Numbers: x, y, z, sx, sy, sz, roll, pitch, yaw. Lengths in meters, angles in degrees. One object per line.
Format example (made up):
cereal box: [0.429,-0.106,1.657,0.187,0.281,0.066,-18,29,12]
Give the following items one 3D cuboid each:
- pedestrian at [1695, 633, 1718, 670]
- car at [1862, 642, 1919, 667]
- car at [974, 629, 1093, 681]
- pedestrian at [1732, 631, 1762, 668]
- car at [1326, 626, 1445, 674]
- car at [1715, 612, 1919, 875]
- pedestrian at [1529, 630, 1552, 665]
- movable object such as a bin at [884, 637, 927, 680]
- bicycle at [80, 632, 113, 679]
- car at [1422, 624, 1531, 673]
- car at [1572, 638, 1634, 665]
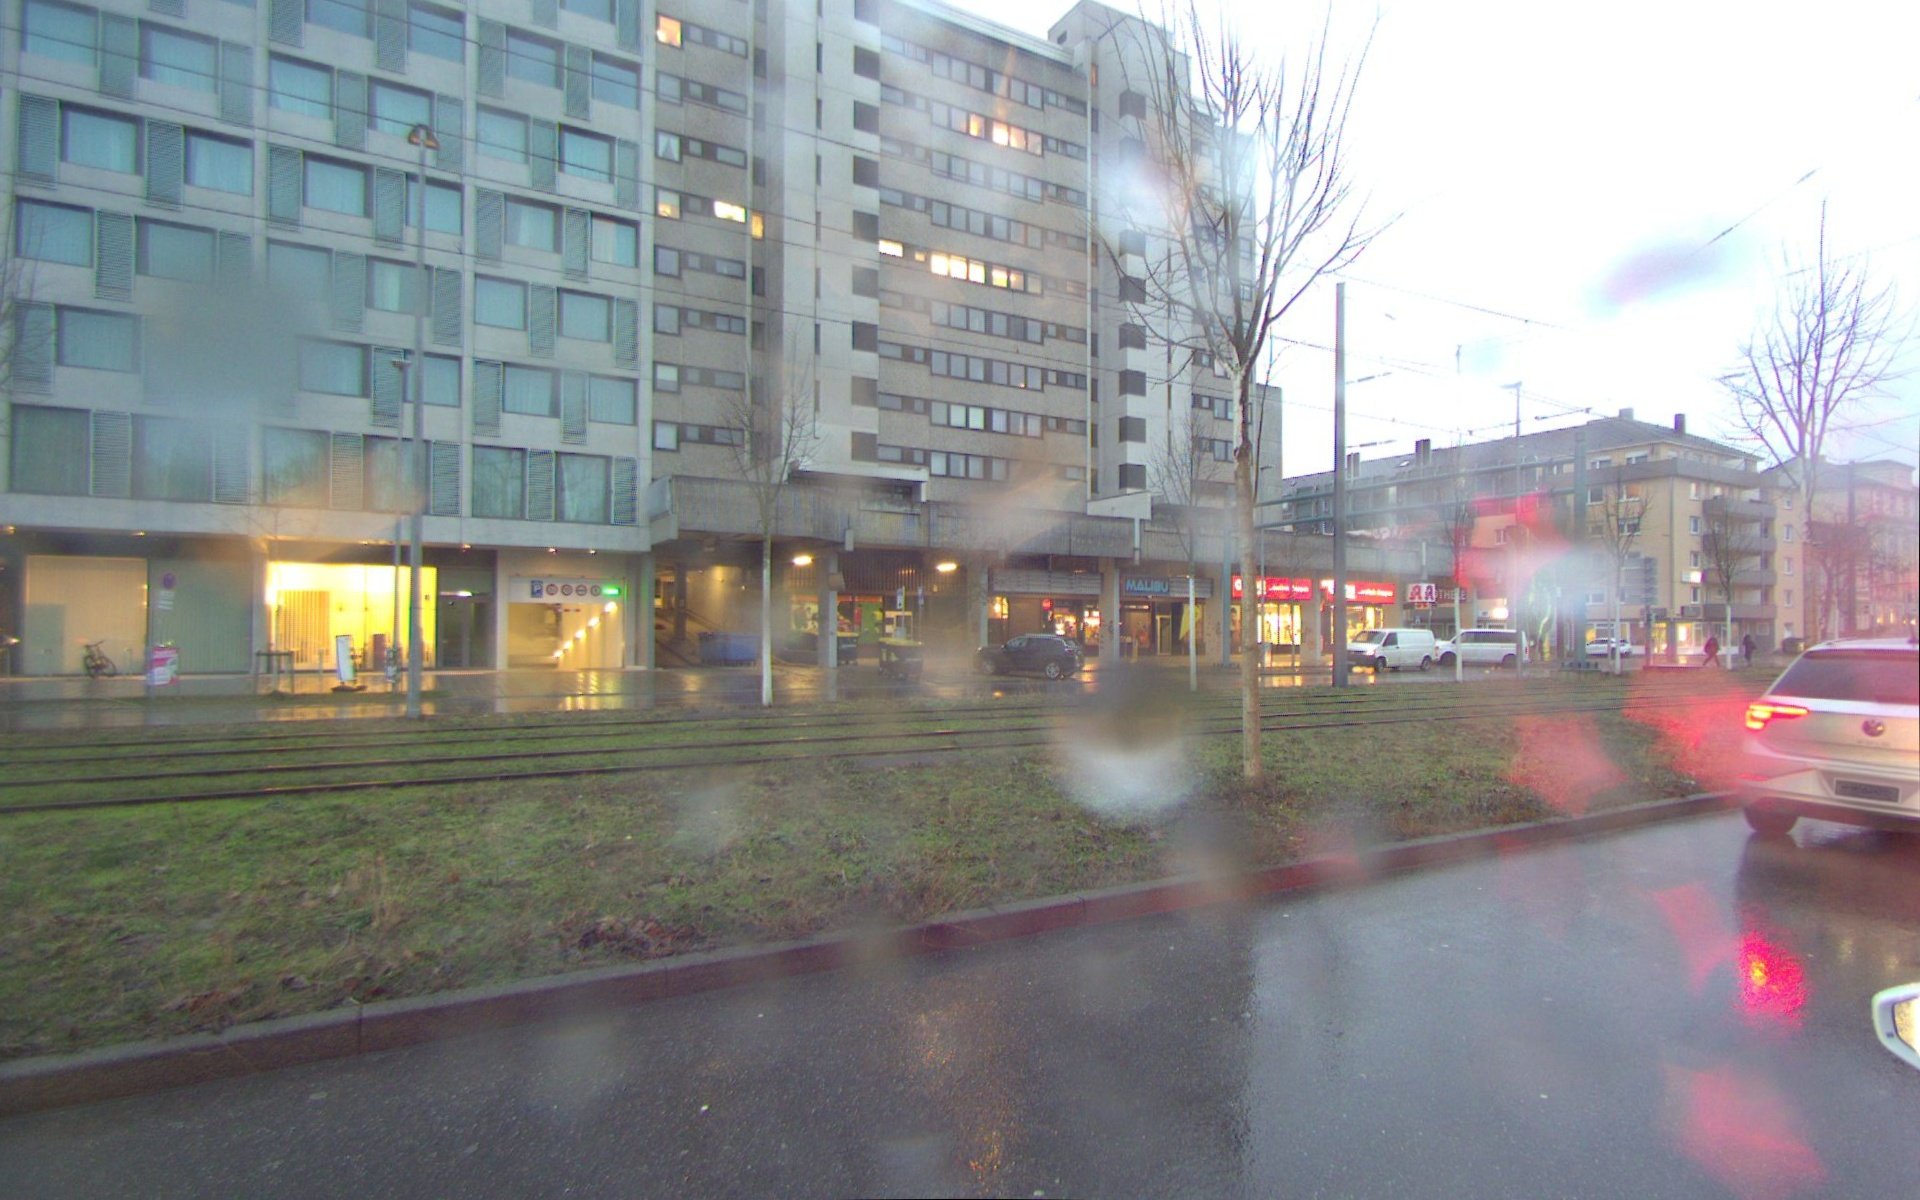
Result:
pedestrian: [41.722,2.862,56.121,0.947,2.040,1.003,-1,-2,40]
car: [54.213,3.153,58.114,4.265,1.350,1.850,2,0,-31]
car: [2.807,2.063,38.336,4.066,1.715,1.982,2,0,28]
pedestrian: [44.239,2.769,56.476,1.253,2.040,1.004,-1,-2,36]
car: [20.032,2.351,47.216,5.491,2.073,1.987,2,0,-26]
car: [7.284,0.894,7.174,3.954,1.554,1.684,1,-1,-31]
pedestrian: [33.896,2.759,58.655,1.051,2.040,1.007,0,-2,25]
movable object such as a bin: [-1.908,2.021,35.014,1.023,1.445,1.061,2,0,-41]
bicycle: [-25.187,1.608,29.325,0.460,1.255,1.527,2,0,-31]
car: [27.125,2.517,52.913,4.734,2.274,2.001,2,0,15]
car: [51.200,4.080,80.053,1.826,1.968,3.720,2,0,-37]
